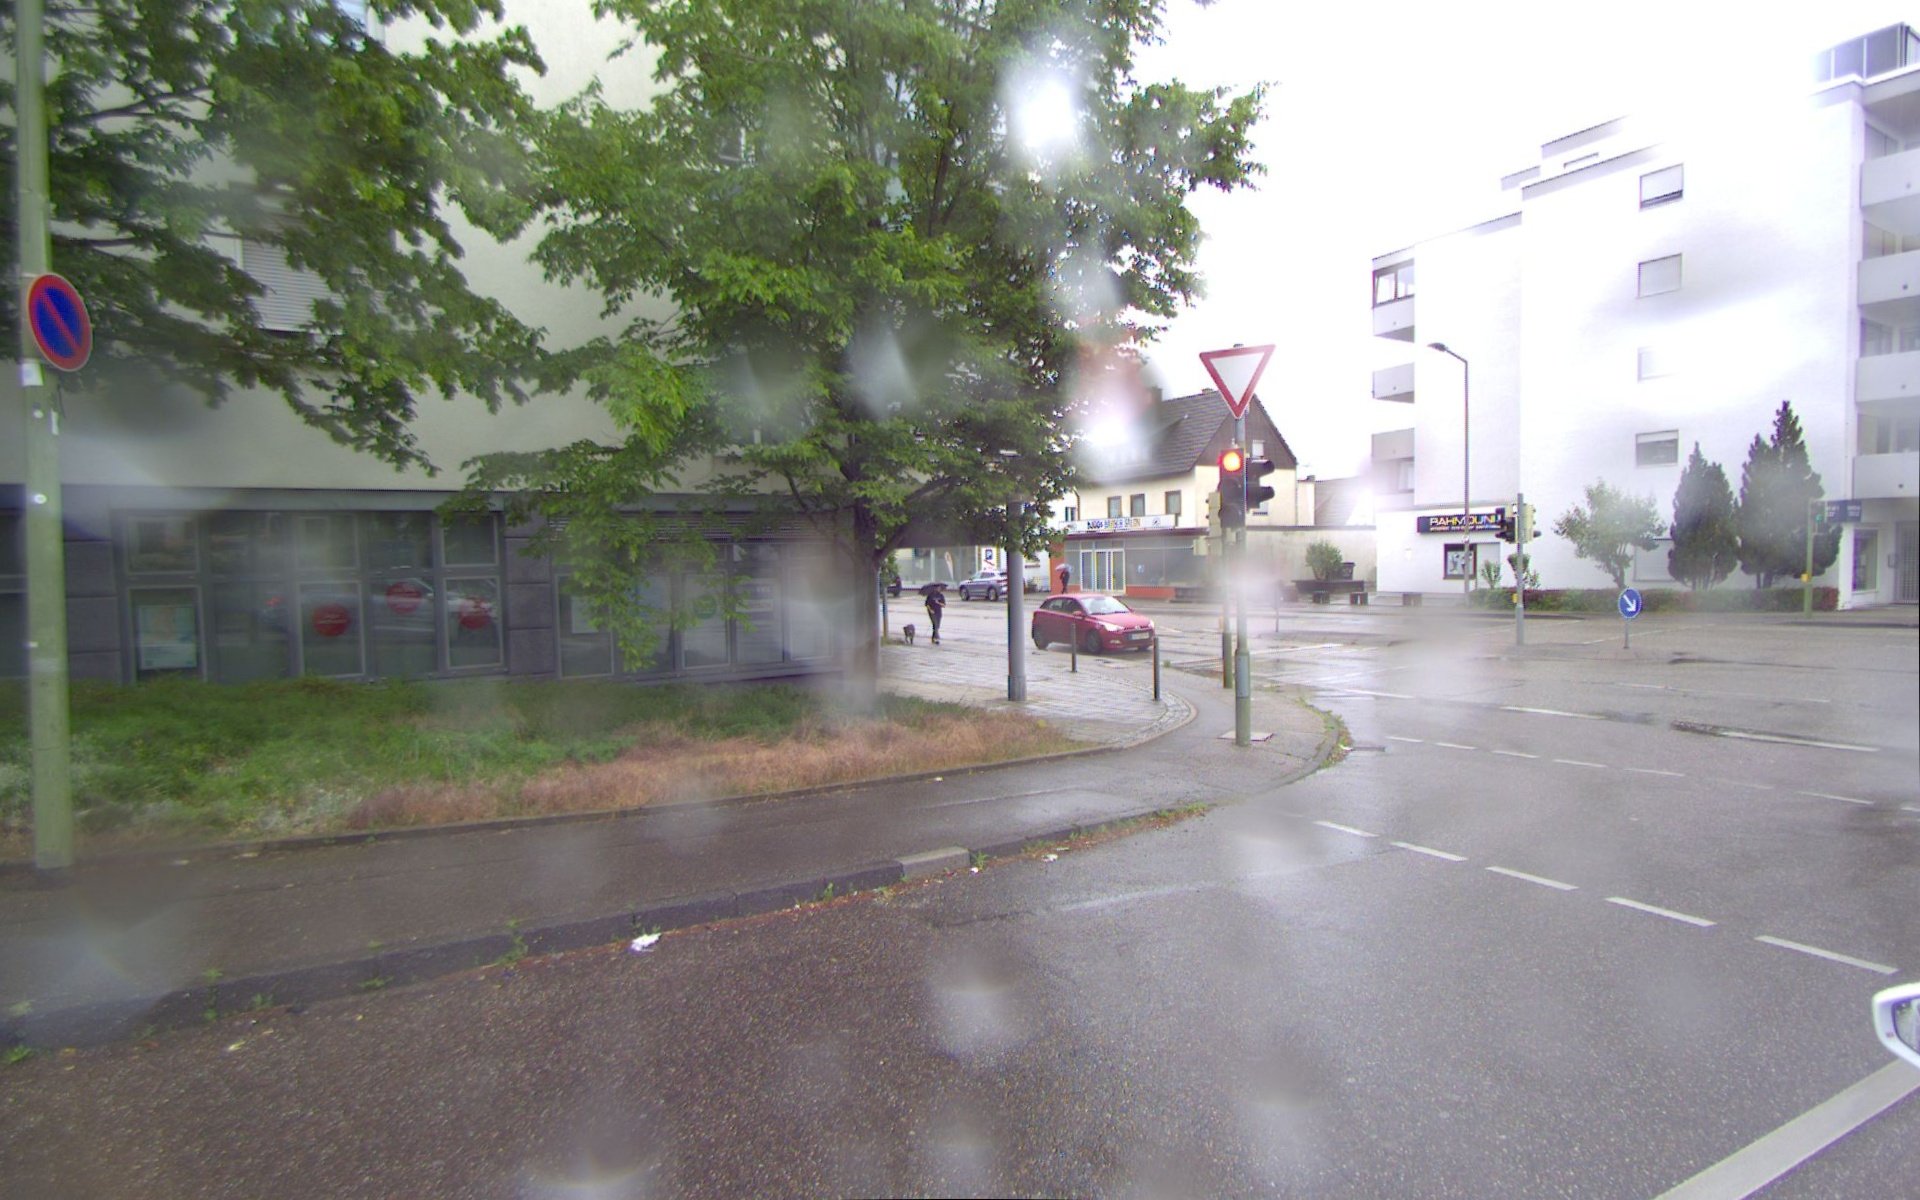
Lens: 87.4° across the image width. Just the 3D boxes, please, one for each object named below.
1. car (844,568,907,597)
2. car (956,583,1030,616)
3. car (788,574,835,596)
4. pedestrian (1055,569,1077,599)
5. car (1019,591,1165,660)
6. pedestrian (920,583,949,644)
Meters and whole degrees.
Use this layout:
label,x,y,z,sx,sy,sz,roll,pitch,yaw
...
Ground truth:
label,x,y,z,sx,sy,sz,roll,pitch,yaw
car,-5.671,-1.126,66.976,2.020,1.718,4.917,-6,4,-33
car,1.782,-0.062,56.364,1.858,1.665,4.754,-6,3,-30
car,-11.089,-1.130,74.866,1.803,1.468,4.162,-5,4,-35
pedestrian,5.620,-0.826,53.145,0.746,1.589,0.985,-1,1,-30
car,3.415,0.607,26.696,1.759,1.527,4.073,-6,3,-28
pedestrian,-0.739,0.374,28.901,0.657,1.725,0.945,-1,2,-11
